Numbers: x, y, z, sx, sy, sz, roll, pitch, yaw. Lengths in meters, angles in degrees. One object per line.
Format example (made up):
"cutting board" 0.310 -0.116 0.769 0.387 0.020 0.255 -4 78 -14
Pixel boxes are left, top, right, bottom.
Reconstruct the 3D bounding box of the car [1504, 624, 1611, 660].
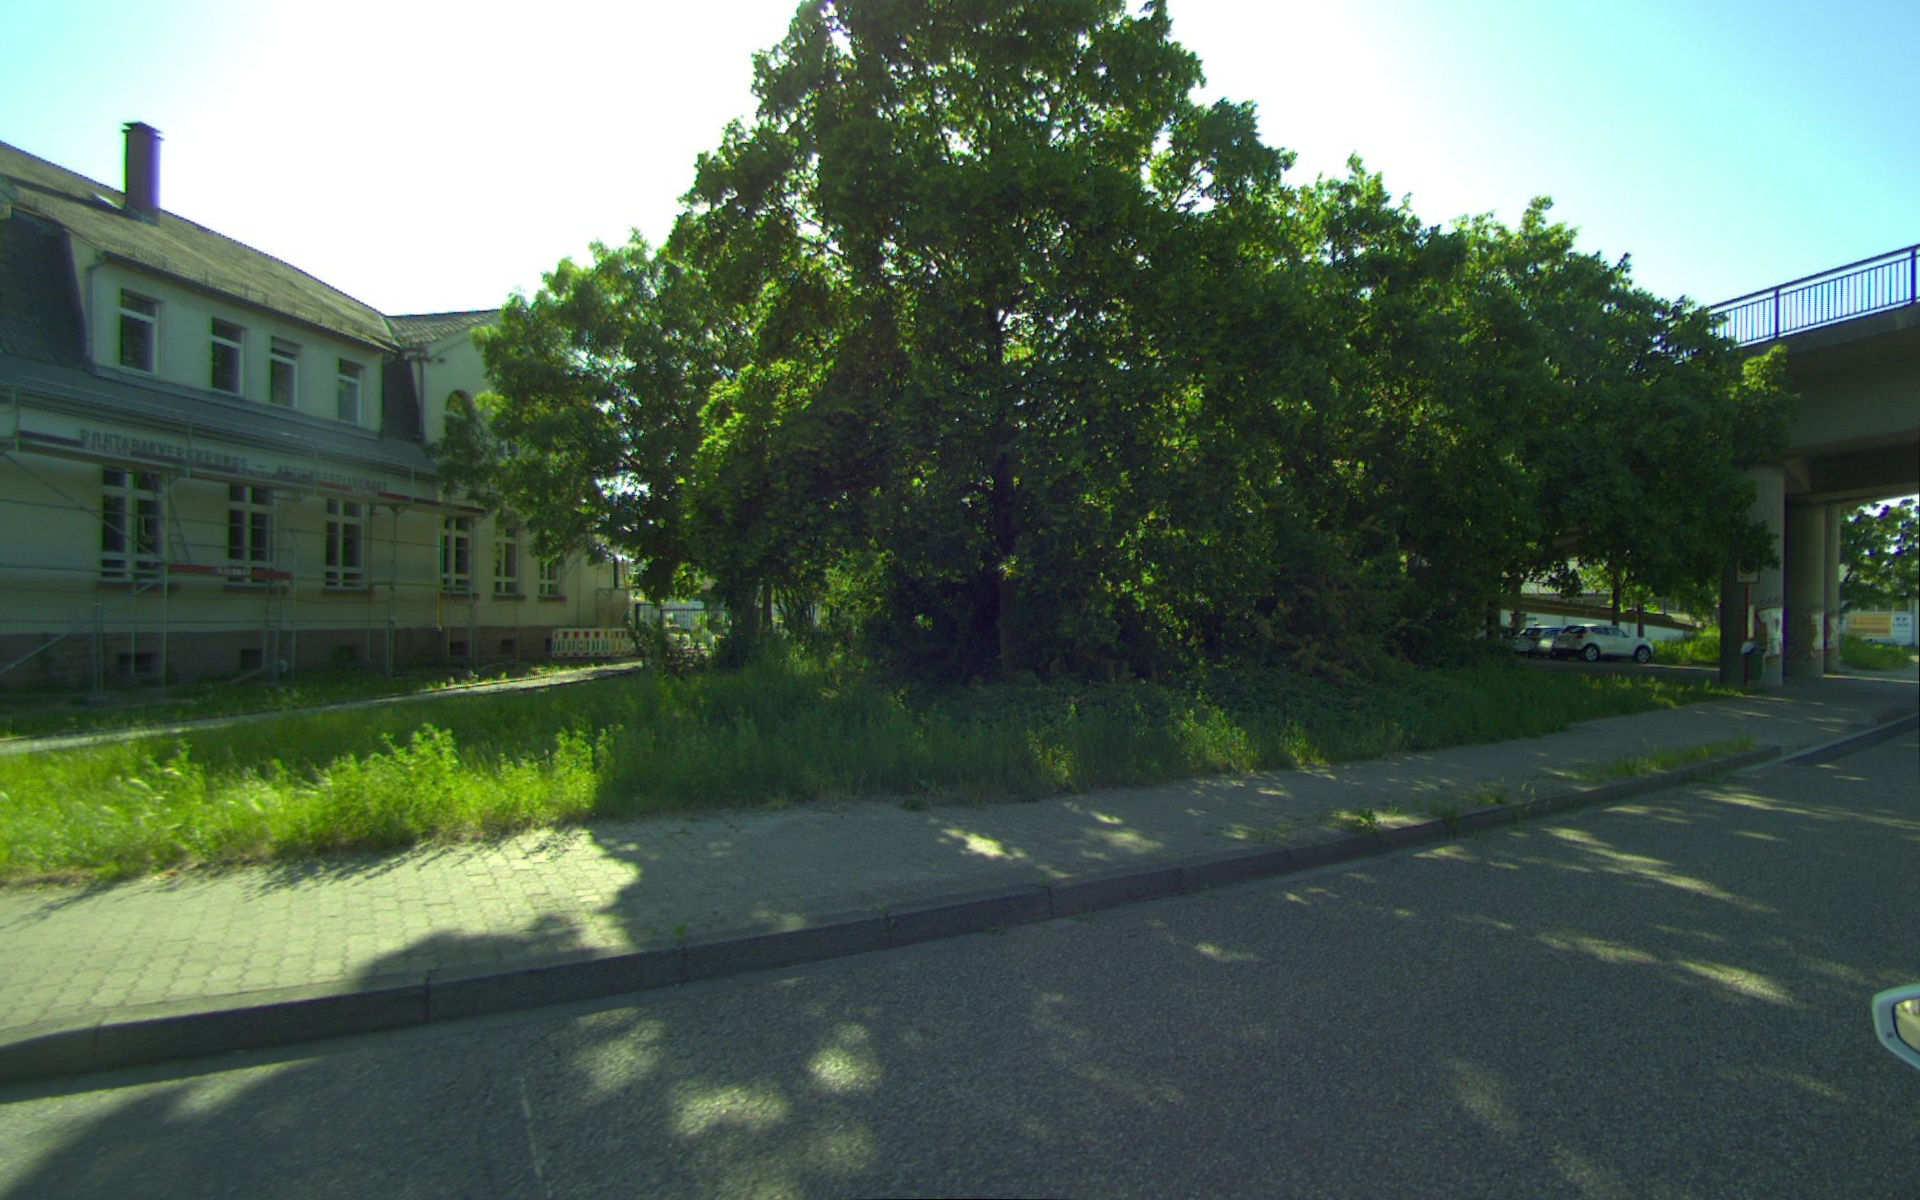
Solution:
"car" 27.089 1.877 45.588 4.224 1.573 1.679 0 -1 -13

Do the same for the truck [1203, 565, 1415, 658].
"truck" 14.054 0.513 40.644 7.820 3.598 2.480 0 -1 -8

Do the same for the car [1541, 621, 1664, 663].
"car" 27.455 1.807 42.977 4.204 1.663 1.867 -1 -4 -9

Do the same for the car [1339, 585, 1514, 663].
"car" 17.111 0.835 36.859 5.907 2.717 1.941 0 -1 -14
